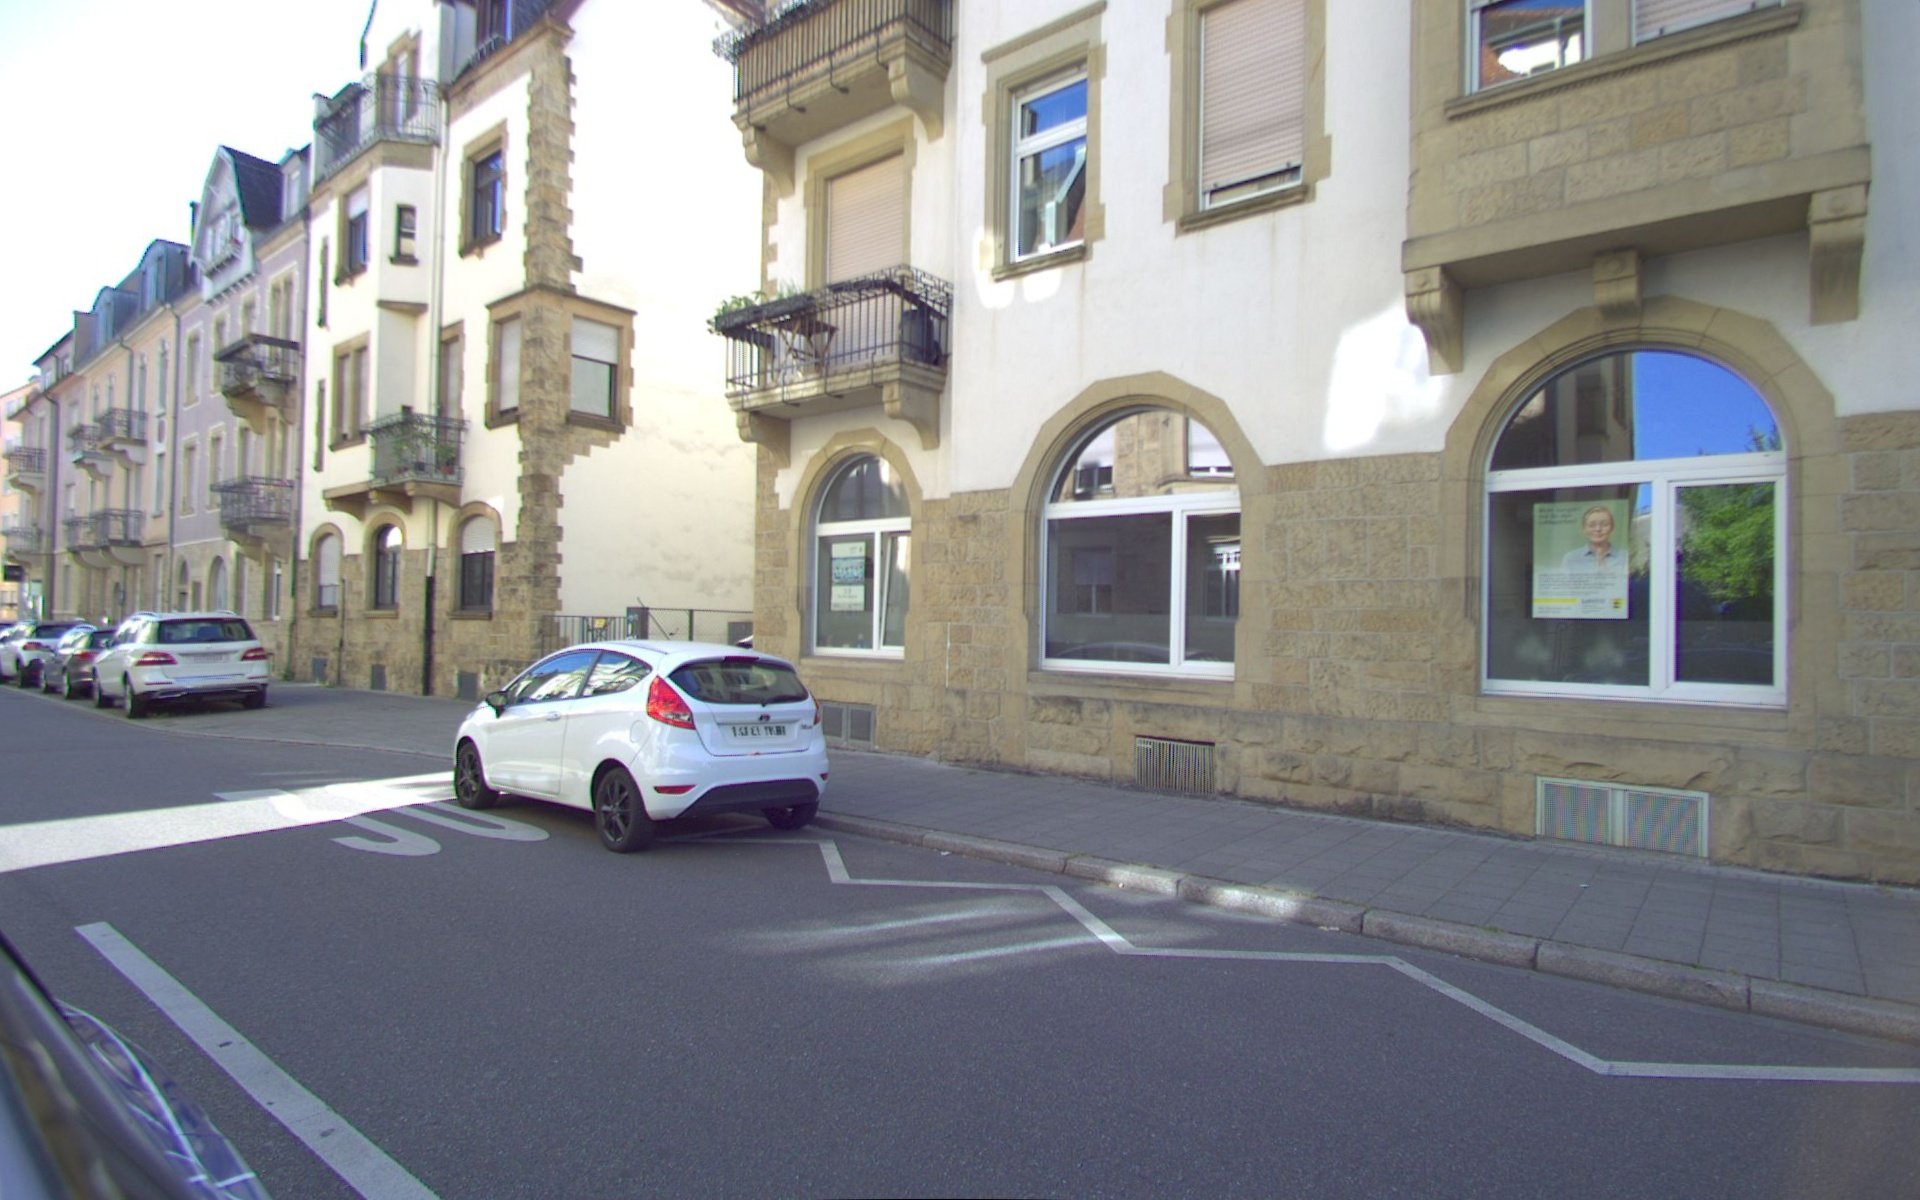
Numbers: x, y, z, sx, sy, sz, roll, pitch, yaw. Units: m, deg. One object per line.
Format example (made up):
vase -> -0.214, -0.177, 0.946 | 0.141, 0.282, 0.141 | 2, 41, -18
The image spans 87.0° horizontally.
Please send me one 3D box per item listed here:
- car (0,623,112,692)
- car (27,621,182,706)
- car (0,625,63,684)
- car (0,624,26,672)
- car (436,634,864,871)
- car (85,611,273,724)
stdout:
car -> -22.946, 1.375, 25.433 | 4.319, 1.520, 1.866 | -1, 0, 41
car -> -18.442, 1.283, 21.751 | 4.319, 1.519, 1.866 | -1, 2, 41
car -> -27.154, 1.508, 28.872 | 4.317, 1.511, 1.833 | -1, 0, 41
car -> -33.138, 1.598, 34.220 | 4.319, 1.520, 1.866 | -1, 0, 41
car -> -2.625, 1.040, 8.168 | 3.642, 1.469, 1.634 | -2, -5, 42
car -> -13.960, 1.092, 18.005 | 4.209, 1.740, 1.866 | -1, 0, 41
